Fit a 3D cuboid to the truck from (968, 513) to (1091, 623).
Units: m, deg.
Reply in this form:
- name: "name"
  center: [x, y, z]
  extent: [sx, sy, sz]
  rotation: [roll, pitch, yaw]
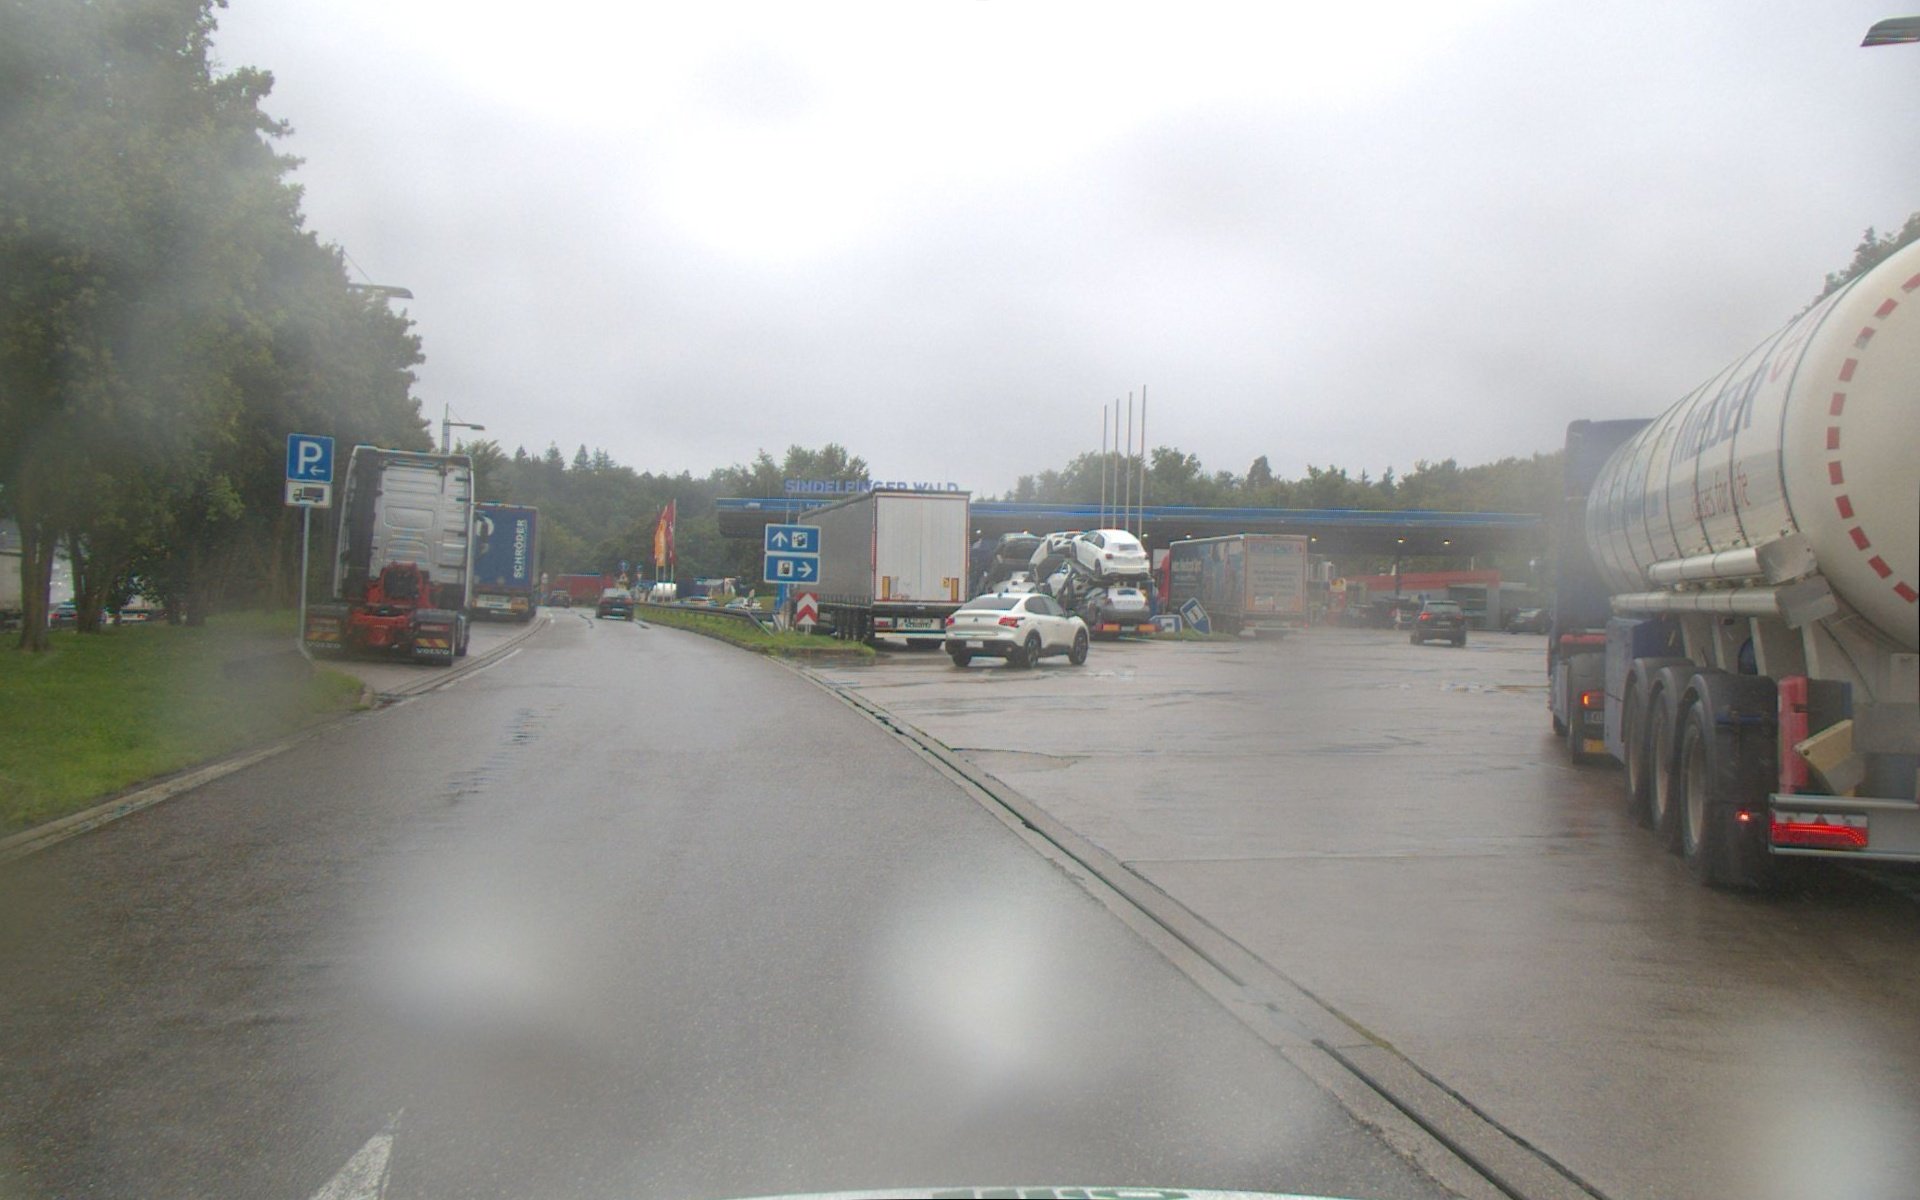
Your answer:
- name: "truck"
  center: [2.813, -1.311, 70.111]
  extent: [3.176, 4.261, 8.421]
  rotation: [2, 0, -11]

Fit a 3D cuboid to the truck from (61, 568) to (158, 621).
- name: "truck"
  center: [-56.812, -0.366, 110.550]
  extent: [5.156, 3.054, 1.993]
  rotation: [5, 0, -14]

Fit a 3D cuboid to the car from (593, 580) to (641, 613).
- name: "car"
  center: [-16.419, -0.171, 79.321]
  extent: [1.843, 1.487, 3.994]
  rotation: [2, 0, -6]

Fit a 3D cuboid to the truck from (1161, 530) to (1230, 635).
- name: "truck"
  center: [10.727, -0.772, 75.708]
  extent: [1.949, 4.629, 4.789]
  rotation: [2, 0, -5]

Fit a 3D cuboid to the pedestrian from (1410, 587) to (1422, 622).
- name: "pedestrian"
  center: [27.986, 0.284, 101.477]
  extent: [0.574, 2.049, 0.638]
  rotation: [3, -2, 11]

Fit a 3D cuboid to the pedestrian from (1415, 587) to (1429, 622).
- name: "pedestrian"
  center: [28.042, 0.294, 100.312]
  extent: [0.655, 2.049, 0.743]
  rotation: [3, -2, 20]

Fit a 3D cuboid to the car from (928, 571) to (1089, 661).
- name: "car"
  center: [1.087, 0.333, 34.596]
  extent: [1.954, 1.708, 3.998]
  rotation: [2, 0, 24]

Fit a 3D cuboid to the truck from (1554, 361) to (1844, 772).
- name: "truck"
  center: [7.383, -0.304, 17.021]
  extent: [2.009, 3.593, 4.748]
  rotation: [2, 0, 16]

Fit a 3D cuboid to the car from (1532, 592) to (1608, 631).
- name: "car"
  center: [31.757, 0.609, 86.063]
  extent: [4.158, 1.970, 2.087]
  rotation: [1, 0, -43]

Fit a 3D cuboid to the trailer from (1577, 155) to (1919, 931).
- name: "trailer"
  center: [5.894, -0.198, 11.837]
  extent: [1.938, 3.281, 10.327]
  rotation: [2, 0, 16]

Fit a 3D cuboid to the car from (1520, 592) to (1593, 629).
- name: "car"
  center: [32.351, 0.578, 89.637]
  extent: [4.158, 1.970, 2.087]
  rotation: [1, 0, -43]

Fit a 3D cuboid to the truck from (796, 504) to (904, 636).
- name: "truck"
  center: [-3.650, -0.944, 53.384]
  extent: [2.330, 3.942, 6.988]
  rotation: [1, 0, -13]

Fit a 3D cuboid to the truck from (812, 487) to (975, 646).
- name: "truck"
  center: [-2.185, -0.888, 47.434]
  extent: [2.330, 3.941, 12.412]
  rotation: [1, 0, -13]

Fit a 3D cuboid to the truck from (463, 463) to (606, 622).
- name: "truck"
  center: [-16.238, -2.067, 63.170]
  extent: [4.712, 5.398, 11.026]
  rotation: [1, 0, -15]

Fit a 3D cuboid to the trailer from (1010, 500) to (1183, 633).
- name: "trailer"
  center: [4.702, -1.187, 60.303]
  extent: [3.158, 4.262, 11.498]
  rotation: [2, 0, -11]

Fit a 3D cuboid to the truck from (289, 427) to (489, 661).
- name: "truck"
  center: [-10.785, -0.981, 31.840]
  extent: [2.865, 3.972, 6.295]
  rotation: [1, 0, -13]

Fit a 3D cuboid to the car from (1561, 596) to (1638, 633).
- name: "car"
  center: [31.799, 0.715, 82.179]
  extent: [3.967, 1.758, 2.087]
  rotation: [1, 0, -43]

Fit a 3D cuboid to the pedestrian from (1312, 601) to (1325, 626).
- name: "pedestrian"
  center: [23.226, 0.846, 107.151]
  extent: [0.704, 1.548, 0.743]
  rotation: [3, -2, 20]

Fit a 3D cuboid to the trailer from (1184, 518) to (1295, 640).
- name: "trailer"
  center: [11.411, -0.794, 68.441]
  extent: [1.955, 4.639, 9.798]
  rotation: [2, 0, -5]

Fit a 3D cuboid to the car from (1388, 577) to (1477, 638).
- name: "car"
  center: [17.903, 0.321, 62.890]
  extent: [1.954, 2.049, 3.997]
  rotation: [4, -2, -3]
